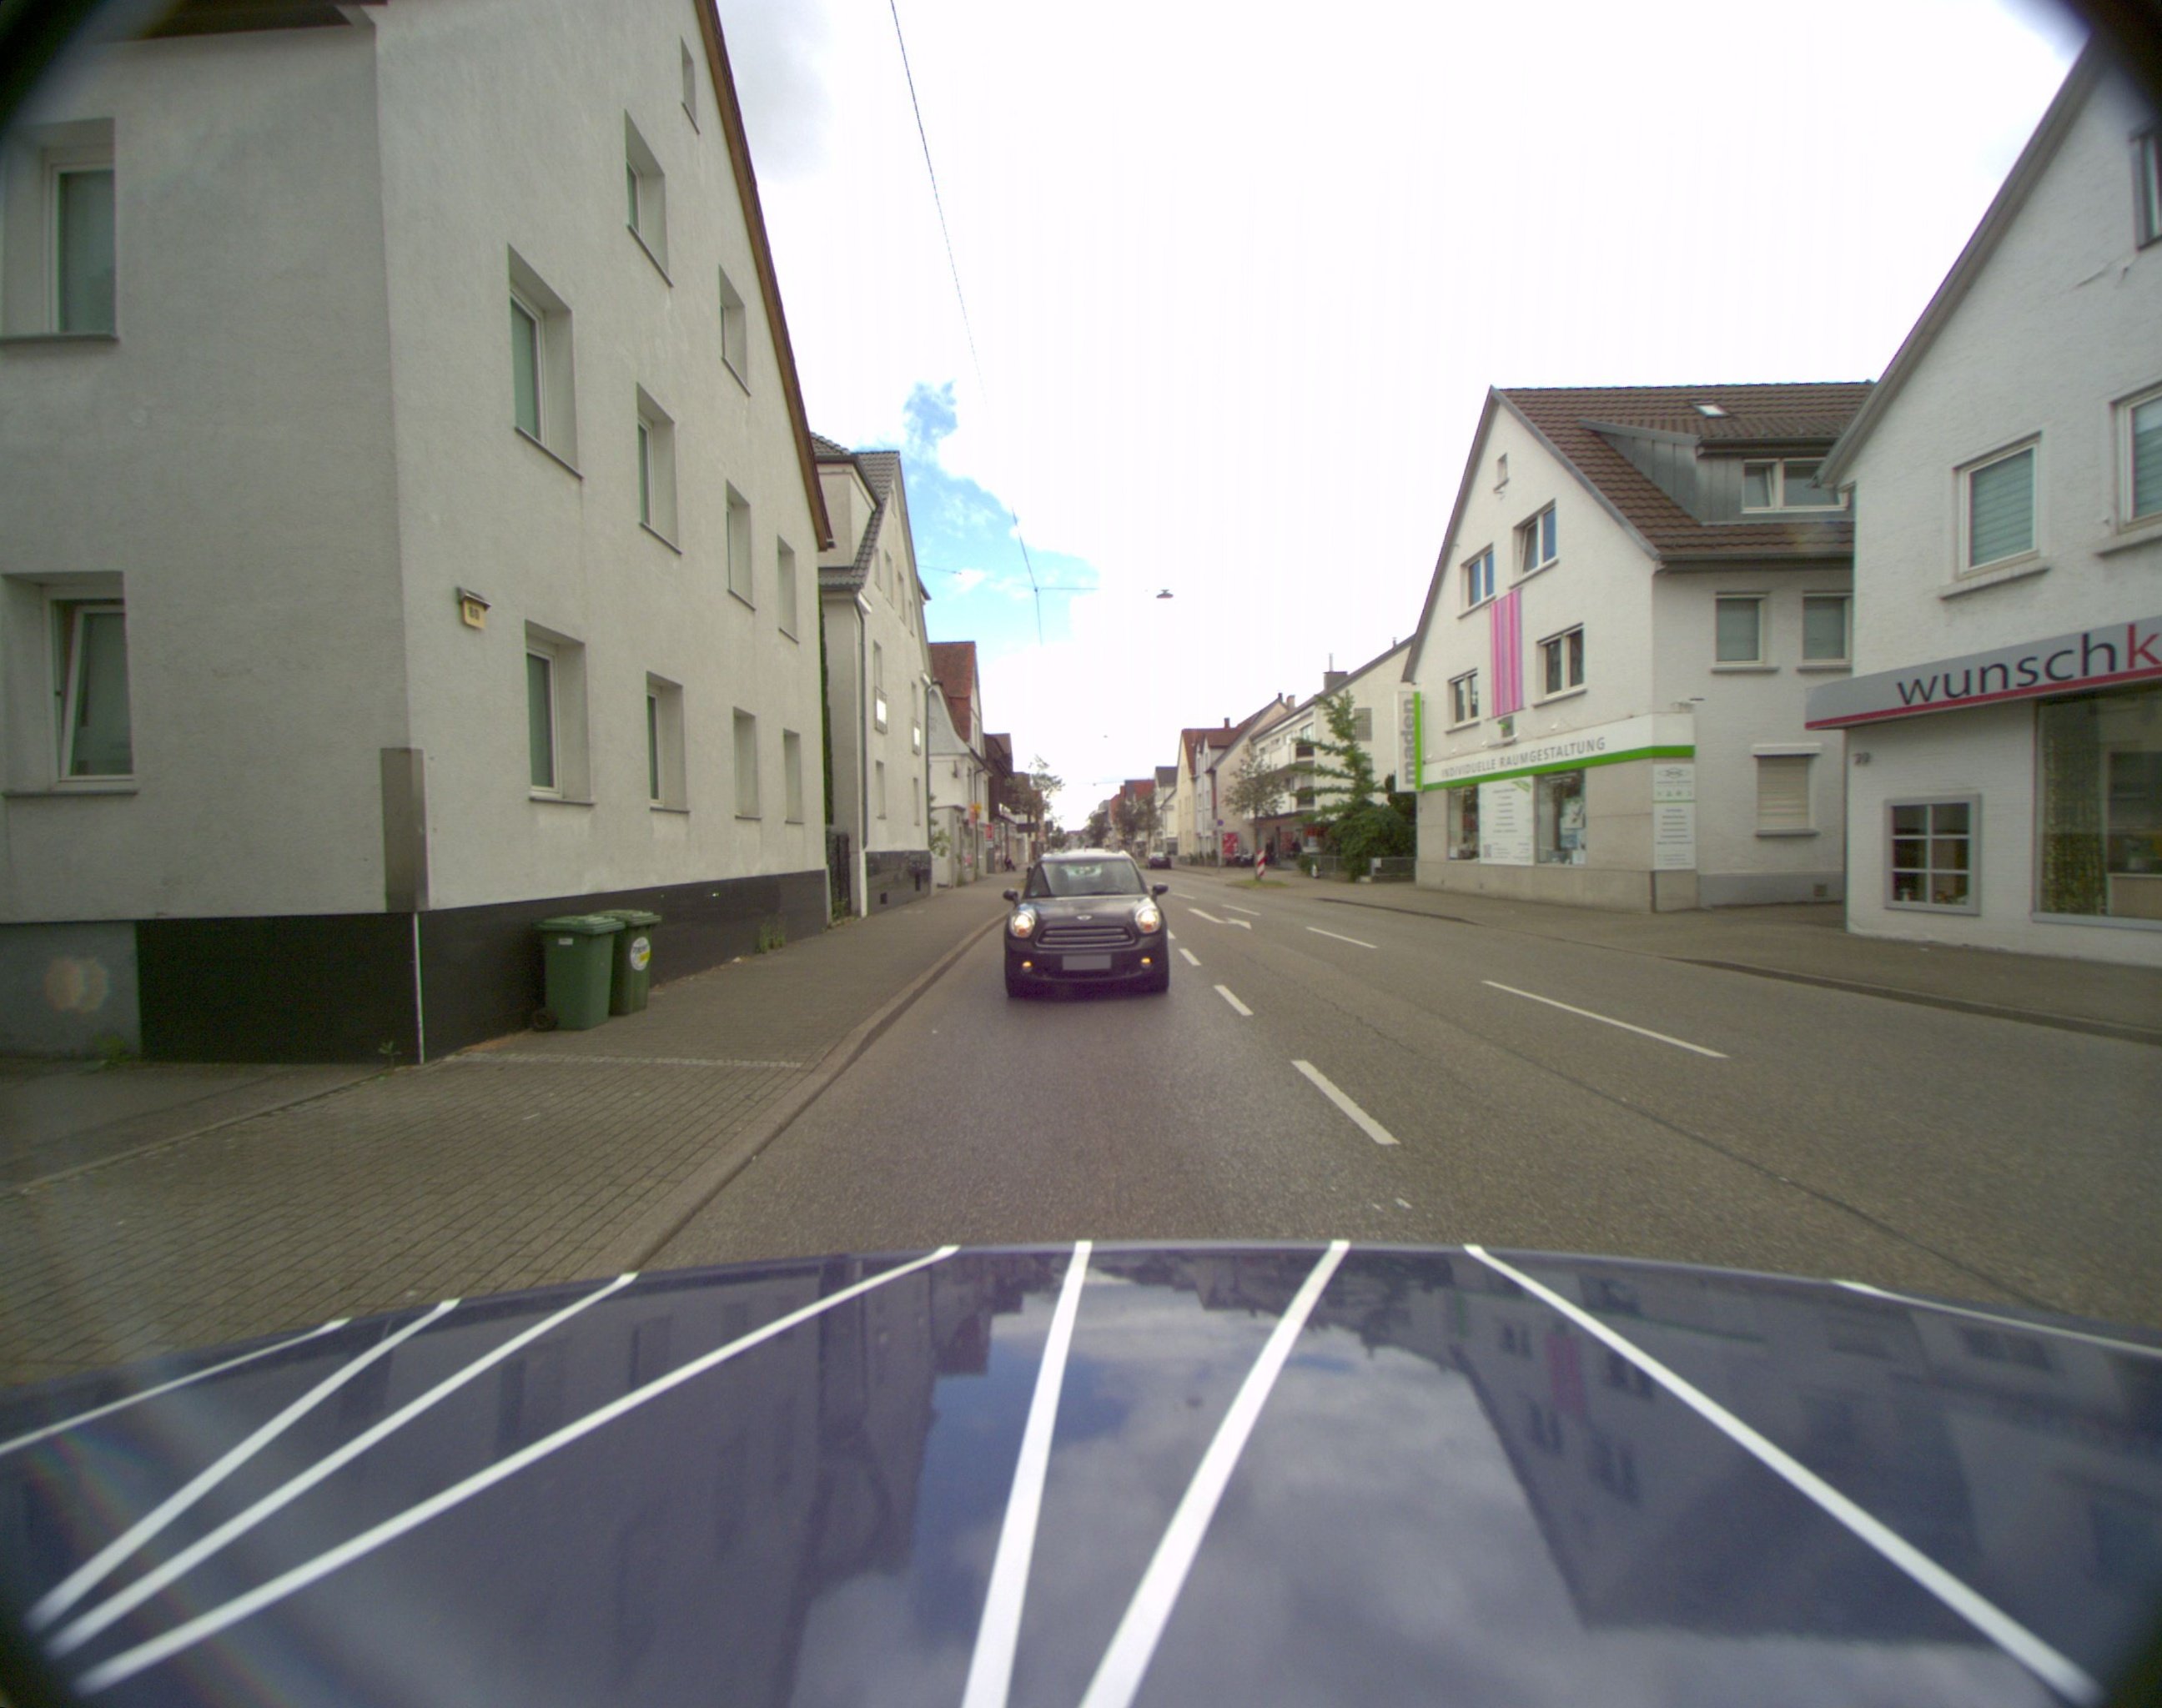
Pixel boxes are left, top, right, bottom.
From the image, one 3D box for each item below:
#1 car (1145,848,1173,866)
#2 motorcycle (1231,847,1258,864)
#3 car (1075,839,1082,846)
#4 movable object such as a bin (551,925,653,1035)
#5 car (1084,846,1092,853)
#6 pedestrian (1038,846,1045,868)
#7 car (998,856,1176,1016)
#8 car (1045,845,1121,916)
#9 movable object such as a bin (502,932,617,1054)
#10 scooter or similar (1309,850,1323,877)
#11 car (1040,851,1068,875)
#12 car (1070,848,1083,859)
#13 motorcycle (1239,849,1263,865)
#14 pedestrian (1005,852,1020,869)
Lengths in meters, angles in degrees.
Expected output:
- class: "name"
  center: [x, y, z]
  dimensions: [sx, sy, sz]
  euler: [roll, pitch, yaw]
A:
- class: "car"
  center: [6.344, 0.221, 61.856]
  dimensions: [1.634, 1.404, 3.998]
  euler: [0, 1, -3]
- class: "motorcycle"
  center: [11.478, 0.109, 53.387]
  dimensions: [1.678, 1.099, 0.558]
  euler: [-3, 1, 0]
- class: "car"
  center: [-0.888, -3.438, 232.497]
  dimensions: [1.951, 2.118, 4.321]
  euler: [0, 1, -3]
- class: "movable object such as a bin"
  center: [-4.287, 1.113, 6.826]
  dimensions: [0.565, 0.898, 0.519]
  euler: [0, 1, 0]
- class: "car"
  center: [1.689, -1.122, 185.351]
  dimensions: [1.846, 1.510, 3.999]
  euler: [-3, 1, 0]
- class: "pedestrian"
  center: [-3.012, 0.228, 58.327]
  dimensions: [0.497, 1.744, 0.451]
  euler: [-1, 1, 1]
- class: "car"
  center: [0.078, 0.805, 9.401]
  dimensions: [1.693, 1.506, 4.000]
  euler: [-2, 0, 1]
- class: "car"
  center: [-0.022, 0.628, 21.051]
  dimensions: [1.811, 1.556, 4.615]
  euler: [-3, 2, -2]
- class: "movable object such as a bin"
  center: [-4.260, 1.122, 6.234]
  dimensions: [0.565, 0.898, 0.519]
  euler: [0, 1, 0]
- class: "scooter or similar"
  center: [10.298, 0.413, 33.290]
  dimensions: [0.465, 1.117, 1.829]
  euler: [-2, 0, 14]
- class: "car"
  center: [-1.933, 0.616, 53.950]
  dimensions: [1.846, 1.510, 3.998]
  euler: [-3, 1, -2]
- class: "car"
  center: [-0.722, -0.040, 117.465]
  dimensions: [1.846, 1.510, 3.999]
  euler: [-3, 1, 0]
- class: "motorcycle"
  center: [11.396, 0.197, 50.869]
  dimensions: [1.429, 1.017, 0.525]
  euler: [-3, 1, 0]
- class: "pedestrian"
  center: [-5.224, 0.507, 57.813]
  dimensions: [0.982, 1.272, 0.667]
  euler: [0, 1, 12]
